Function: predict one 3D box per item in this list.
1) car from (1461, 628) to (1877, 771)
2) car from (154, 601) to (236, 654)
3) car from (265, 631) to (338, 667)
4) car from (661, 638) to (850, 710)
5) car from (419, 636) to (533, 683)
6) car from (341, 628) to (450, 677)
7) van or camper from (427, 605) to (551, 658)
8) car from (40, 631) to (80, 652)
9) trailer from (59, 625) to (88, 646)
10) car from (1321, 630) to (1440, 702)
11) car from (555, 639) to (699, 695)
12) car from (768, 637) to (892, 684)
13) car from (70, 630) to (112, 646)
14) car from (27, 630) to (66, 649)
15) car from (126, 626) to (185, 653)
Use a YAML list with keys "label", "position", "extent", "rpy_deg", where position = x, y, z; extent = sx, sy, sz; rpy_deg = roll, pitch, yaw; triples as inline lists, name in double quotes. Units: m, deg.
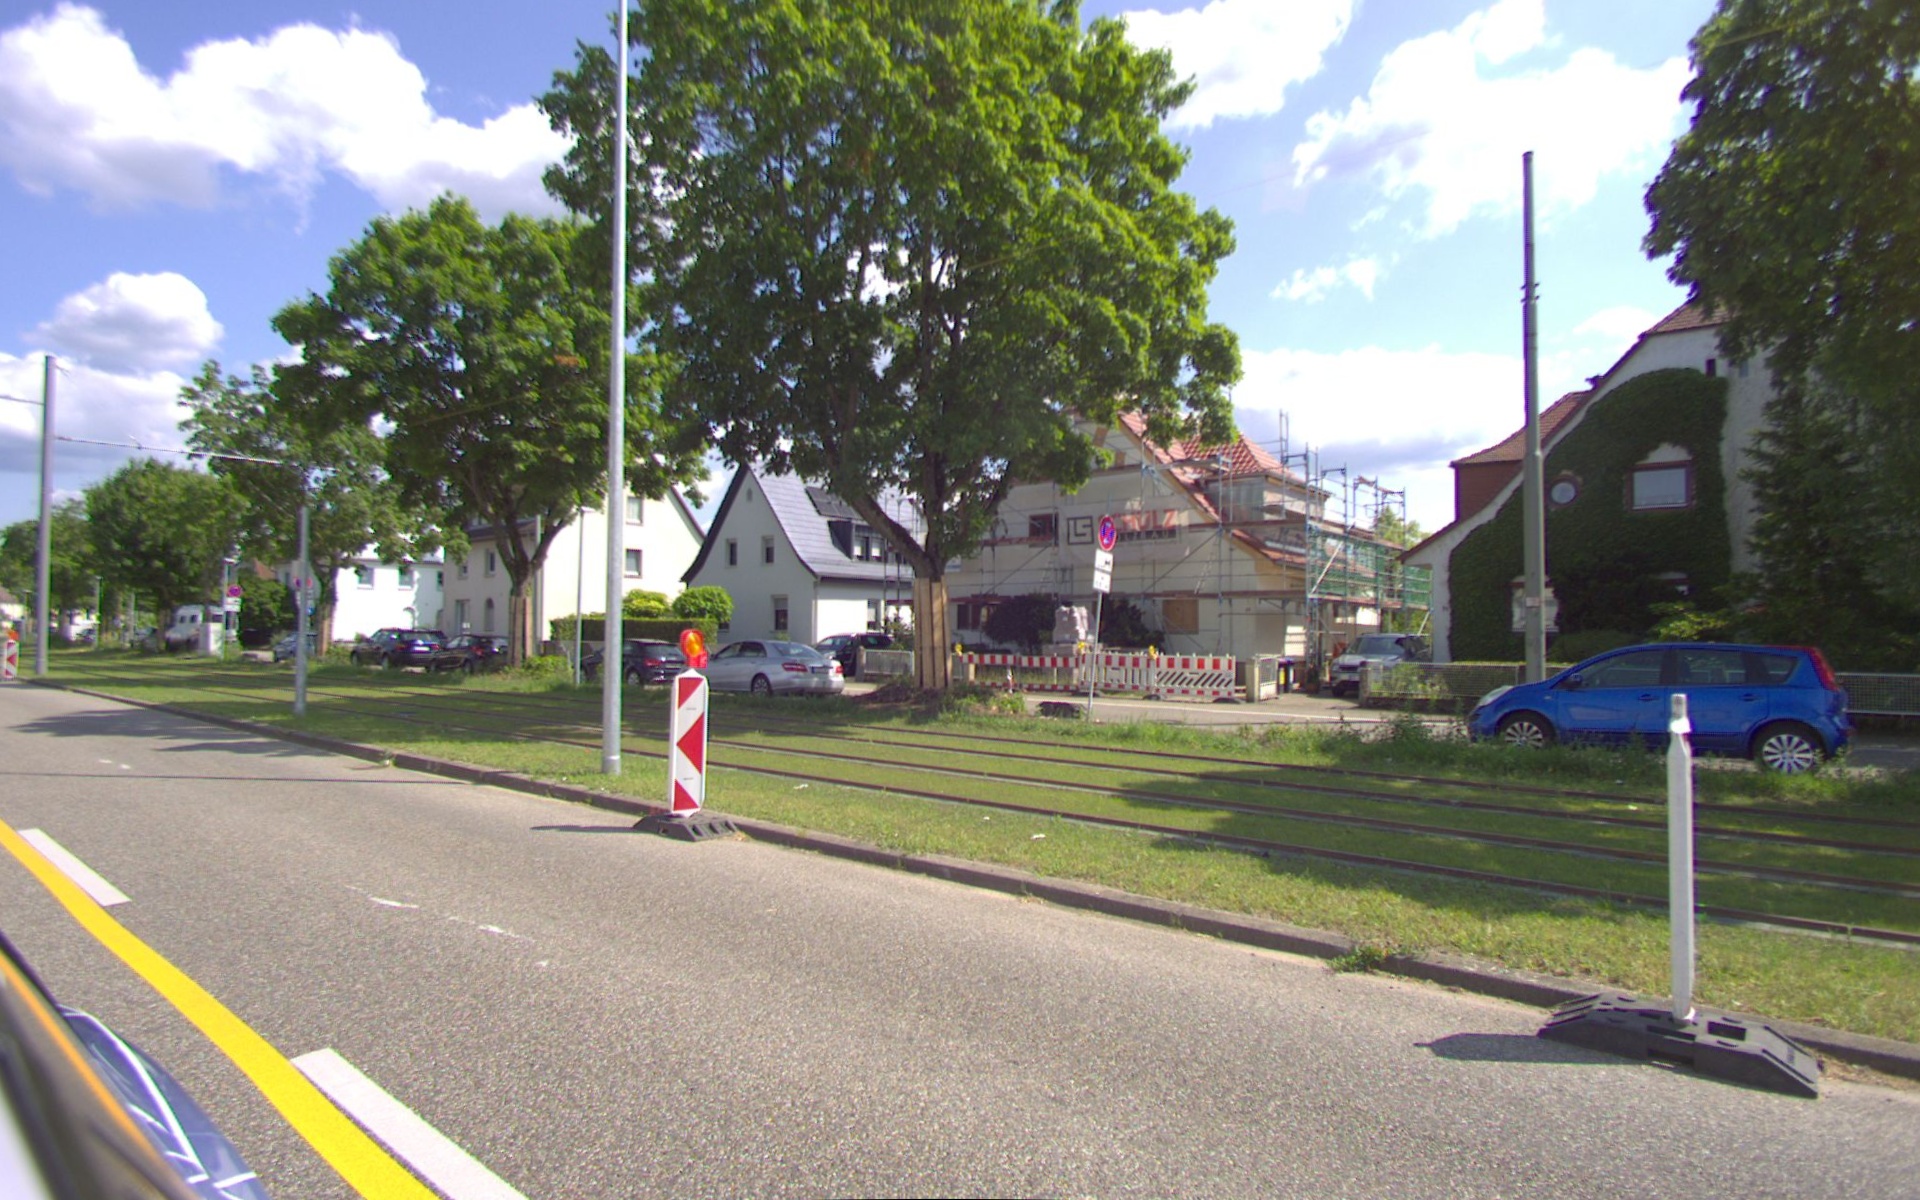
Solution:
- label: "car"
  position: [8.676, 1.124, 12.673]
  extent: [3.995, 1.464, 1.974]
  rpy_deg: [-1, -3, 39]
- label: "car"
  position: [-42.507, 1.556, 56.177]
  extent: [6.454, 2.751, 1.974]
  rpy_deg: [-1, -4, 39]
- label: "car"
  position: [-29.095, 2.154, 44.671]
  extent: [3.889, 1.446, 1.735]
  rpy_deg: [-1, -3, 43]
- label: "car"
  position: [-4.990, 1.705, 24.281]
  extent: [4.936, 1.494, 1.786]
  rpy_deg: [-1, -3, 41]
- label: "car"
  position: [-16.534, 2.015, 34.496]
  extent: [3.997, 1.450, 1.973]
  rpy_deg: [-1, -4, 40]
- label: "car"
  position: [-21.388, 1.950, 38.303]
  extent: [4.384, 1.704, 1.975]
  rpy_deg: [0, -3, 37]
- label: "van or camper"
  position: [-29.996, 2.059, 64.688]
  extent: [2.632, 3.246, 6.659]
  rpy_deg: [-2, -3, 40]
- label: "car"
  position: [-75.826, 3.493, 85.271]
  extent: [4.098, 1.590, 1.885]
  rpy_deg: [-3, -7, 41]
- label: "trailer"
  position: [-68.513, 2.735, 78.211]
  extent: [2.280, 1.530, 1.286]
  rpy_deg: [-1, -3, 40]
- label: "car"
  position: [10.883, 1.674, 26.070]
  extent: [1.872, 1.697, 3.610]
  rpy_deg: [-1, -3, 40]
- label: "car"
  position: [-9.161, 1.820, 27.716]
  extent: [3.850, 1.328, 1.973]
  rpy_deg: [-1, -5, 40]
- label: "car"
  position: [-4.423, 2.027, 34.848]
  extent: [1.981, 1.412, 3.946]
  rpy_deg: [0, -1, 40]
- label: "car"
  position: [-64.249, 2.816, 74.803]
  extent: [3.833, 1.101, 1.763]
  rpy_deg: [-1, -3, 40]
- label: "car"
  position: [-79.993, 3.415, 88.629]
  extent: [4.320, 1.551, 1.973]
  rpy_deg: [-1, -3, 41]
- label: "car"
  position: [-49.348, 2.410, 62.064]
  extent: [4.483, 1.517, 1.973]
  rpy_deg: [-1, -3, 41]
